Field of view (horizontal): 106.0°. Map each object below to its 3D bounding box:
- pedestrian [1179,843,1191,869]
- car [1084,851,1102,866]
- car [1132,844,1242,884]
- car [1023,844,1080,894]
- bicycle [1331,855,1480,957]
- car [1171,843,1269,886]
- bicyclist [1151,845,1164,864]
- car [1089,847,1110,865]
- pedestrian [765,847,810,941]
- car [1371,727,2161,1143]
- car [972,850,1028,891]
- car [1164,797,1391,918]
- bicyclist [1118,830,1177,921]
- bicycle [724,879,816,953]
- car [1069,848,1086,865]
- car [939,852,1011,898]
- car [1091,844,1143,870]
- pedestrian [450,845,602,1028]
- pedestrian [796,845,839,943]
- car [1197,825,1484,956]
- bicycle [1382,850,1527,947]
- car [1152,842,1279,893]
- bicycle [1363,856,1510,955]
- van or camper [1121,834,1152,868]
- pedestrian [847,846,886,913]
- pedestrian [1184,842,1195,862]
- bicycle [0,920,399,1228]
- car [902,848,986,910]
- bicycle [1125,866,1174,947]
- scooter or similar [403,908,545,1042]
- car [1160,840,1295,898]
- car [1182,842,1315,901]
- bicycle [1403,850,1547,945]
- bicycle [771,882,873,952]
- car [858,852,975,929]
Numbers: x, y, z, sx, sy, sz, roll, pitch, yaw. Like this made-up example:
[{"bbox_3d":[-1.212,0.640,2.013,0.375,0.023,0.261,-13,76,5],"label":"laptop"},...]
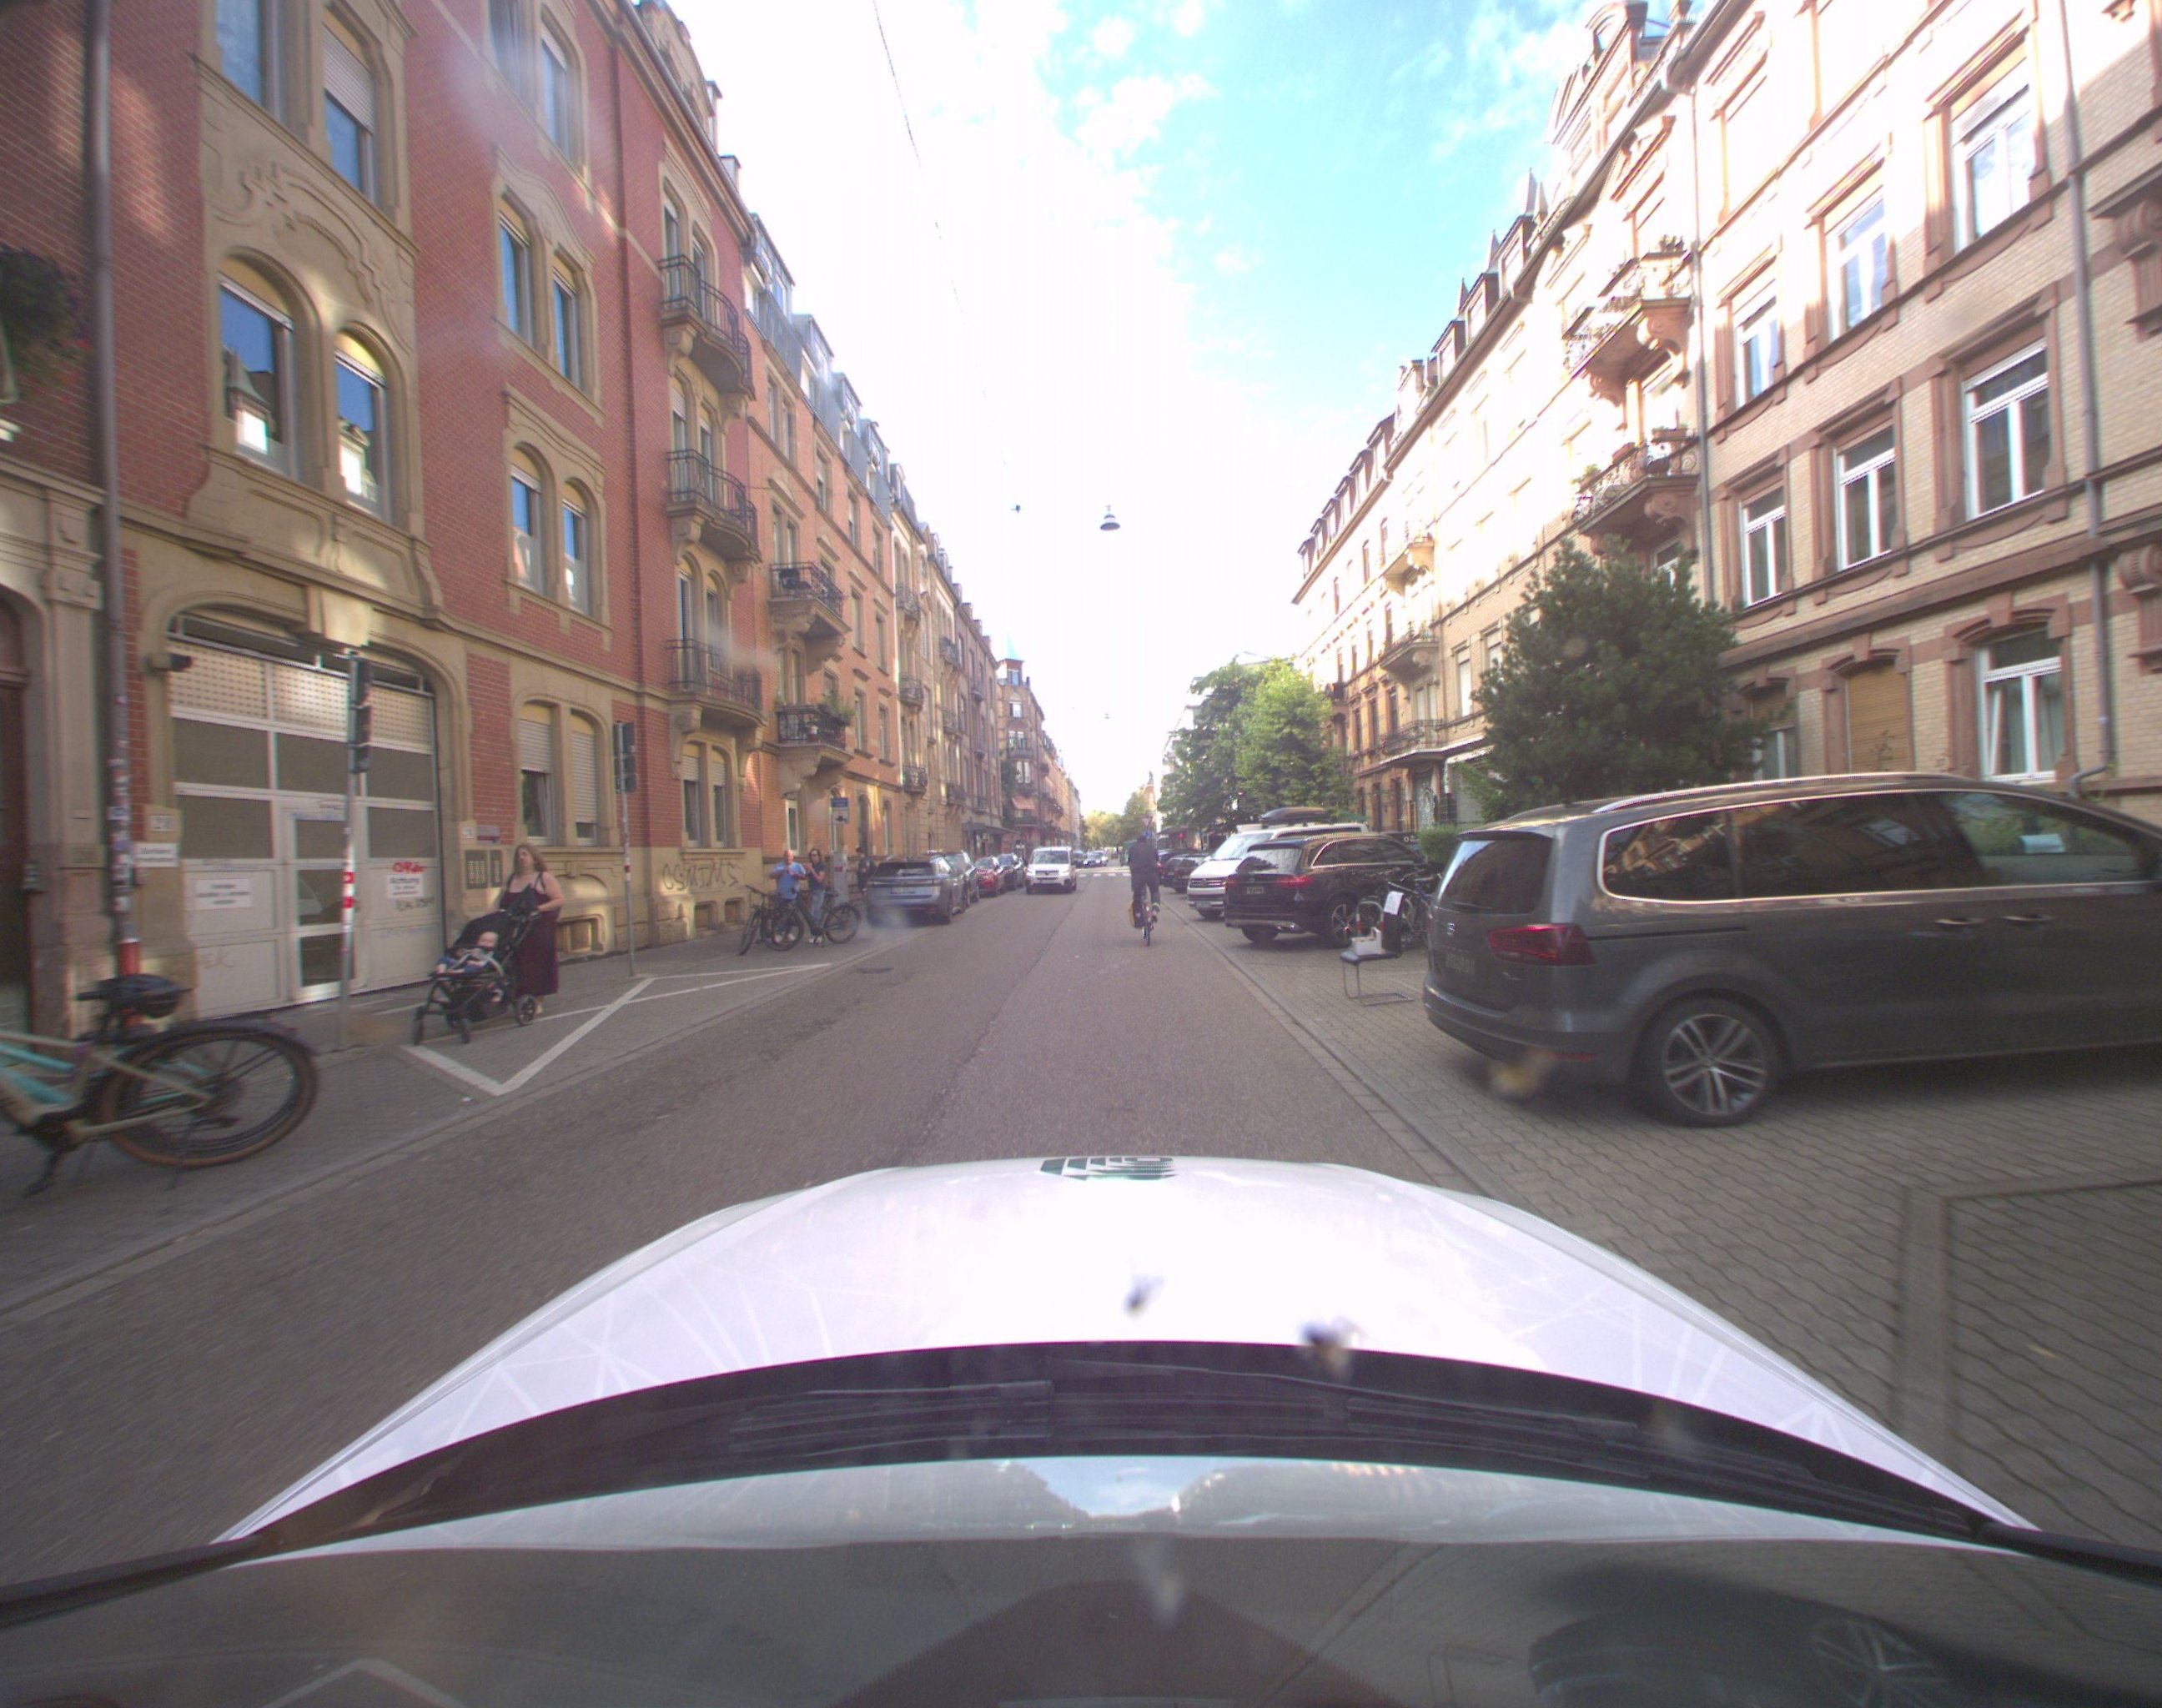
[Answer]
[{"bbox_3d":[7.219,0.131,56.498,0.624,1.739,0.779,-3,0,14],"label":"pedestrian"},{"bbox_3d":[1.219,0.498,81.557,1.744,1.436,4.211,-1,-1,0],"label":"car"},{"bbox_3d":[5.047,0.445,38.653,4.779,1.456,2.039,-5,2,-26],"label":"car"},{"bbox_3d":[-1.126,0.557,32.807,1.910,1.828,4.441,-1,0,2],"label":"car"},{"bbox_3d":[4.125,0.633,10.523,0.407,1.182,1.899,-3,0,-29],"label":"bicycle"},{"bbox_3d":[5.678,0.415,33.091,3.737,1.485,1.722,-4,1,-36],"label":"car"},{"bbox_3d":[6.853,0.024,73.155,0.846,1.665,0.795,-1,0,36],"label":"bicyclist"},{"bbox_3d":[2.094,0.188,90.992,1.934,1.722,4.856,-4,1,4],"label":"car"},{"bbox_3d":[-5.330,0.710,14.797,0.683,1.661,0.546,-1,0,-28],"label":"pedestrian"},{"bbox_3d":[4.426,0.314,4.911,4.621,1.784,1.810,-5,2,0],"label":"car"},{"bbox_3d":[-3.530,0.695,36.452,1.783,1.628,4.850,-2,0,2],"label":"car"},{"bbox_3d":[4.608,-0.007,18.796,5.178,2.405,1.899,-3,0,-31],"label":"car"},{"bbox_3d":[1.120,0.352,13.794,0.930,1.484,0.747,-1,0,1],"label":"bicyclist"},{"bbox_3d":[-5.132,0.983,13.580,0.490,1.095,1.910,0,0,11],"label":"bicycle"},{"bbox_3d":[-0.373,0.305,101.918,1.987,2.013,4.000,-3,0,0],"label":"car"},{"bbox_3d":[-3.926,0.746,30.986,1.986,1.545,4.428,-2,0,1],"label":"car"},{"bbox_3d":[2.759,0.228,63.250,3.973,1.882,2.000,-1,0,1],"label":"car"},{"bbox_3d":[-5.360,0.752,7.926,0.910,1.661,0.826,-1,0,-7],"label":"pedestrian"},{"bbox_3d":[-4.746,0.694,14.652,0.568,1.709,0.661,-1,0,-33],"label":"pedestrian"},{"bbox_3d":[4.215,0.453,13.013,4.475,1.732,1.979,-2,0,-33],"label":"car"},{"bbox_3d":[4.992,0.576,11.025,0.407,1.182,1.850,-3,0,-29],"label":"bicycle"},{"bbox_3d":[5.033,0.474,30.225,4.486,1.464,1.860,-5,2,-33],"label":"car"},{"bbox_3d":[4.631,0.647,10.749,0.407,1.182,1.850,-3,0,-29],"label":"bicycle"},{"bbox_3d":[5.270,-0.287,77.909,2.523,3.037,4.458,-3,0,0],"label":"van or camper"},{"bbox_3d":[-5.913,0.692,22.523,0.752,1.808,0.864,-1,0,5],"label":"pedestrian"},{"bbox_3d":[9.975,-0.196,74.754,0.864,1.851,0.614,-3,0,7],"label":"pedestrian"},{"bbox_3d":[-4.746,0.990,3.796,0.798,1.159,2.284,-1,0,39],"label":"bicycle"},{"bbox_3d":[-4.122,0.680,25.249,1.868,1.681,4.891,-1,1,-2],"label":"car"},{"bbox_3d":[1.115,0.821,13.705,0.663,1.178,2.498,-1,0,2],"label":"bicycle"},{"bbox_3d":[-5.424,1.048,7.334,0.604,1.055,0.921,-1,0,-3],"label":"scooter or similar"},{"bbox_3d":[4.964,0.479,27.322,4.491,1.476,1.868,-6,2,-38],"label":"car"},{"bbox_3d":[5.107,0.485,24.582,4.015,1.459,1.730,-4,1,-40],"label":"car"},{"bbox_3d":[5.384,0.577,11.257,0.407,1.182,1.850,-3,0,-29],"label":"bicycle"},{"bbox_3d":[-4.365,1.033,13.880,0.477,1.059,1.915,0,0,26],"label":"bicycle"},{"bbox_3d":[-3.763,0.755,19.579,1.820,1.578,5.260,-1,0,-1],"label":"car"}]
